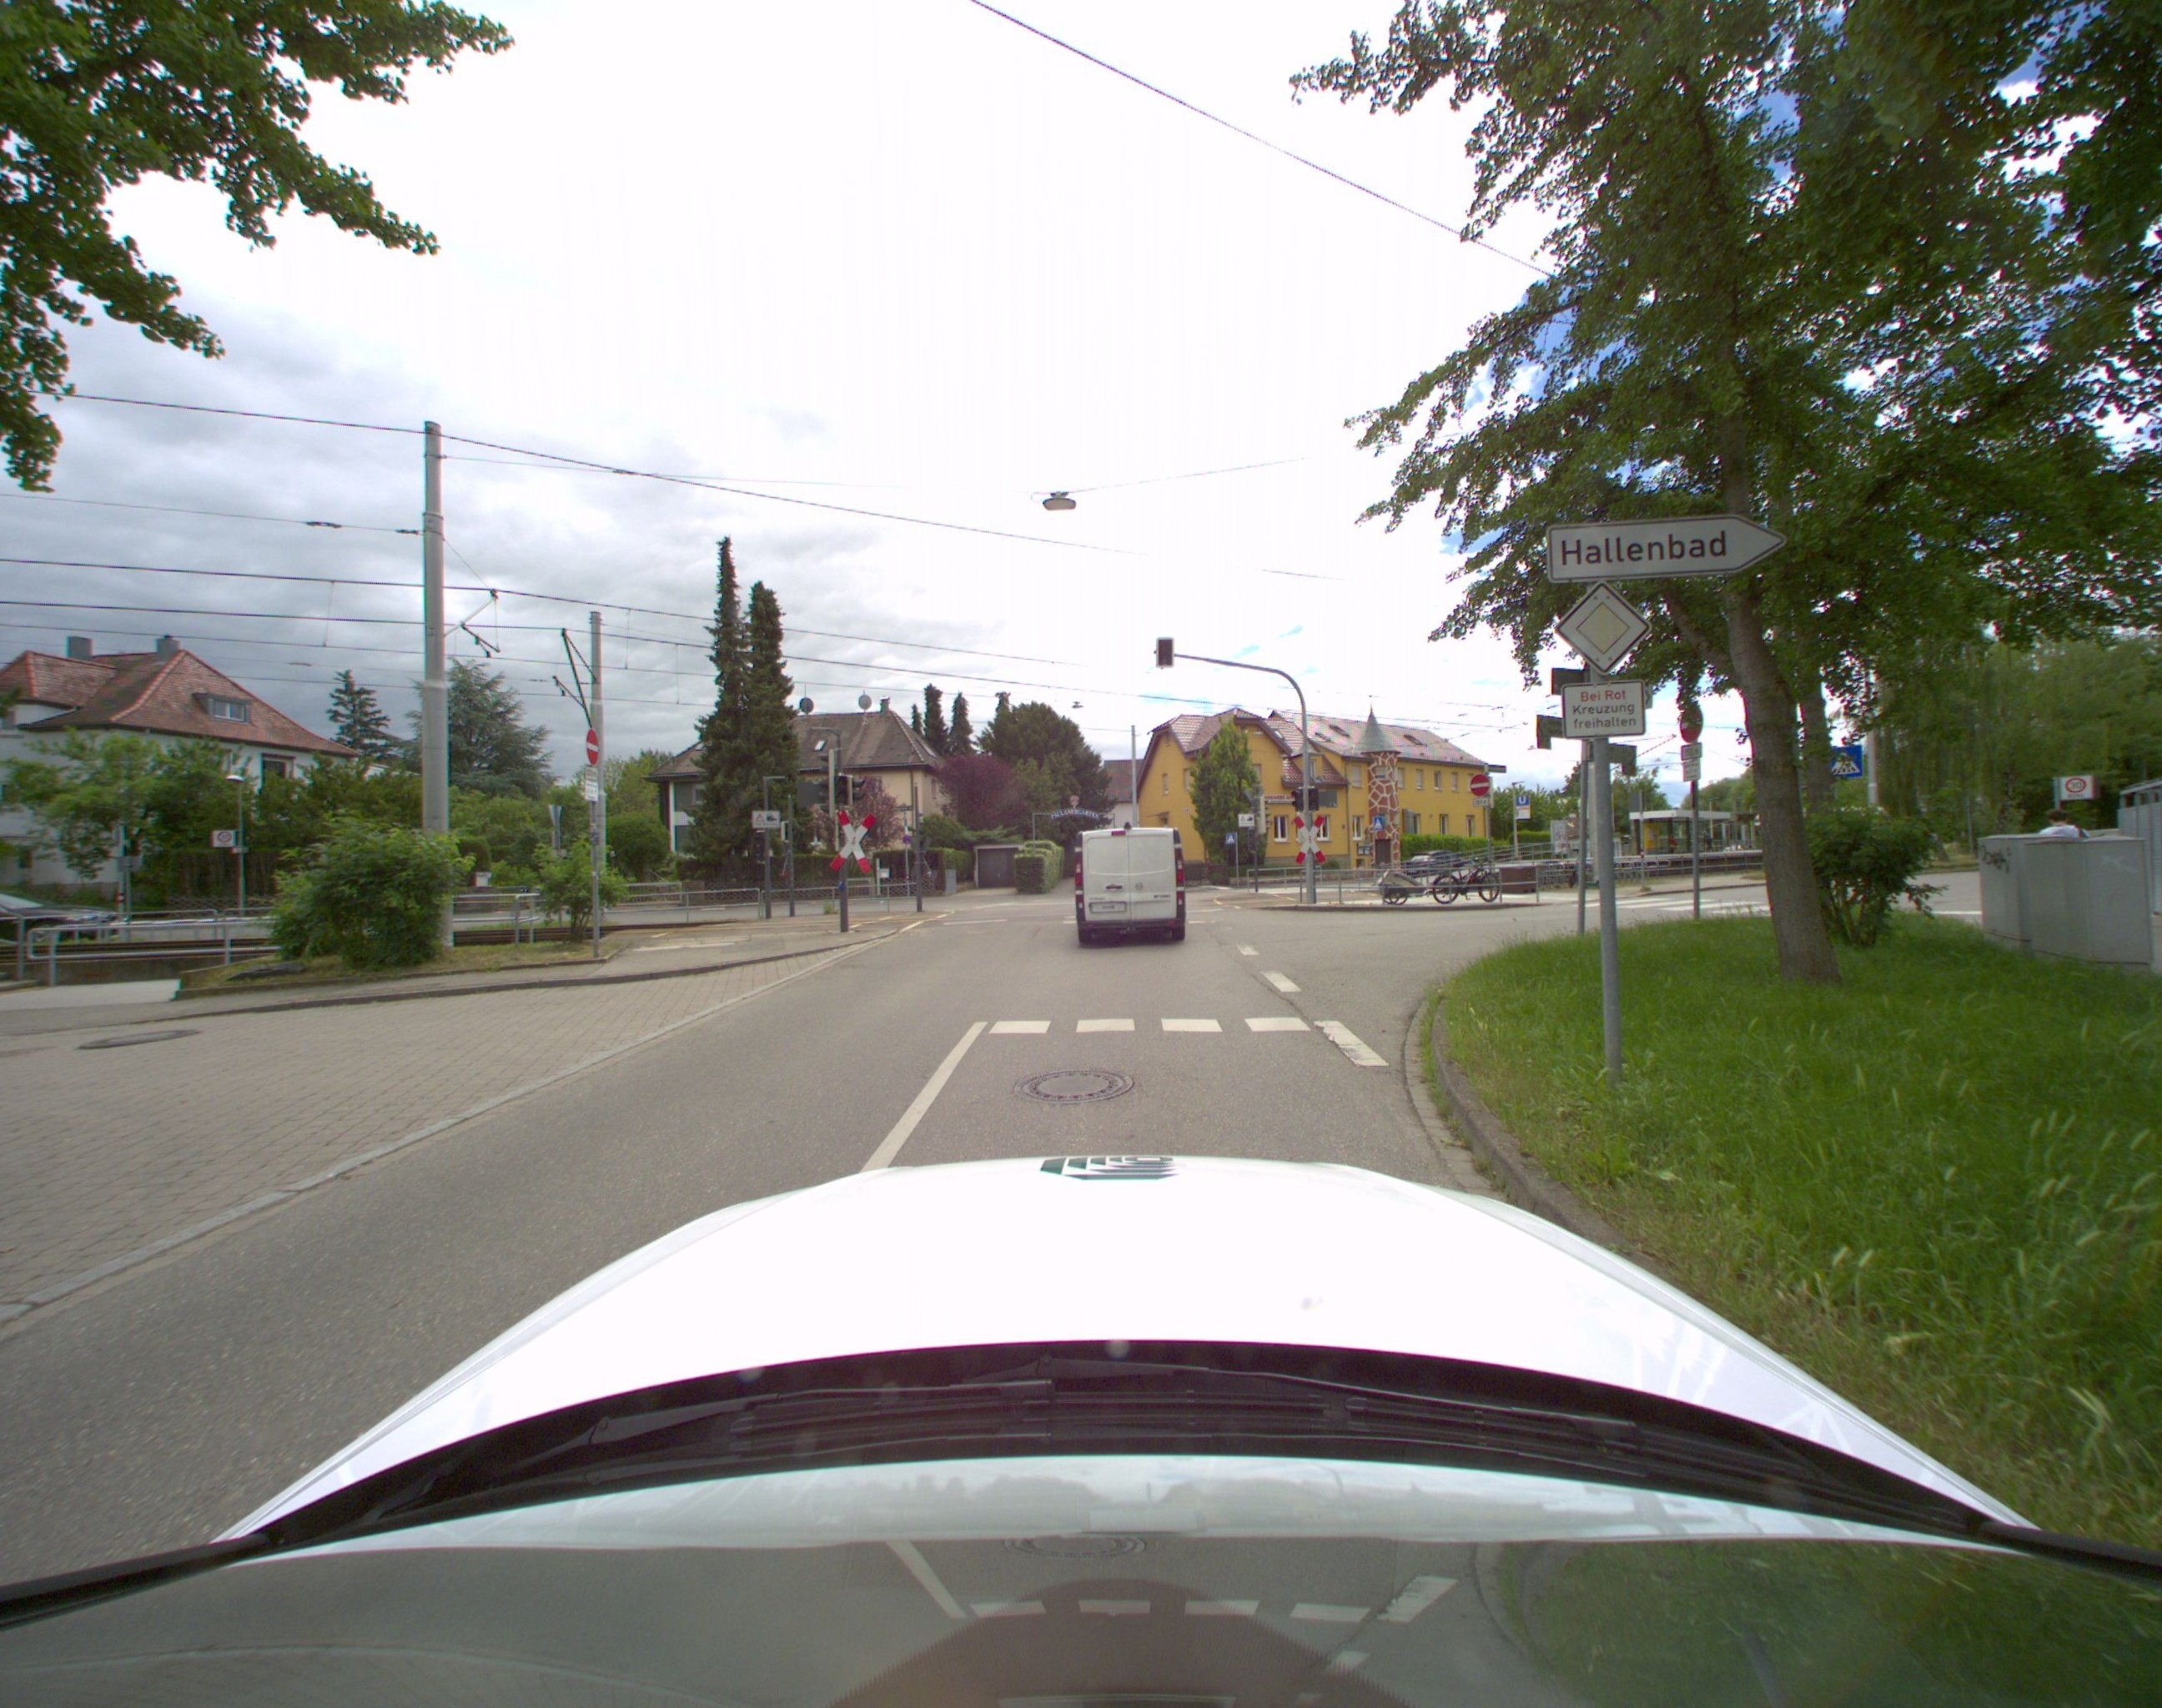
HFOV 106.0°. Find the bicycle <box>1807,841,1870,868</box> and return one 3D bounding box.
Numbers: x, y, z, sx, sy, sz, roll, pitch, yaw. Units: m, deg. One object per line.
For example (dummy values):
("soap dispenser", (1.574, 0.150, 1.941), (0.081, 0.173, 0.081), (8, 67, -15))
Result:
("bicycle", (30.458, 0.026, 32.775), (0.558, 1.042, 1.754), (-1, -1, -28))

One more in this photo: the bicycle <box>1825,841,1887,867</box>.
("bicycle", (31.890, 0.013, 33.528), (0.558, 1.042, 1.754), (-1, -1, -28))

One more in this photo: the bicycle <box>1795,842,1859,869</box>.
("bicycle", (29.673, 0.074, 32.423), (0.558, 1.042, 1.754), (-1, -1, -28))

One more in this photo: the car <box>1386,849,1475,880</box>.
("car", (18.970, 0.528, 44.196), (4.387, 1.564, 2.339), (0, 0, -32))

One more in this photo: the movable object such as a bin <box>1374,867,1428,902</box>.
("movable object such as a bin", (7.930, 0.743, 20.214), (1.088, 0.824, 0.579), (-2, -1, -3))

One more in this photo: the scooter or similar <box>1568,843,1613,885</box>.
("scooter or similar", (16.317, 0.328, 26.096), (0.491, 1.316, 1.041), (-3, -1, -28))

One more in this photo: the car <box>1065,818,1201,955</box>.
("car", (0.820, 0.516, 15.611), (2.110, 2.134, 5.440), (-1, 0, 0))

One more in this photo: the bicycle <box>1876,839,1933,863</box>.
("bicycle", (37.528, -0.148, 37.113), (0.559, 1.042, 1.750), (-1, -1, -38))

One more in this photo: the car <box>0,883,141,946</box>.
("car", (-28.098, 1.601, 21.334), (4.124, 1.501, 1.808), (-1, 0, -24))

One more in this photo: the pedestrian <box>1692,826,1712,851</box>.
("pedestrian", (43.322, -1.092, 56.813), (0.914, 1.671, 0.878), (-1, -1, -38))

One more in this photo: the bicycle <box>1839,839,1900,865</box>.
("bicycle", (33.248, -0.060, 34.353), (0.558, 1.042, 1.754), (-1, -1, -28))

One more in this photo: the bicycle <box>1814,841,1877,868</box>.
("bicycle", (31.083, 0.037, 33.122), (0.558, 1.042, 1.754), (-1, -1, -28))

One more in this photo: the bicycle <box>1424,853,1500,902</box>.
("bicycle", (9.458, 0.581, 20.233), (1.685, 1.155, 0.465), (-2, -1, -7))

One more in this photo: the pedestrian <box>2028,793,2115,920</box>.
("pedestrian", (15.506, 0.037, 12.770), (0.617, 1.914, 0.836), (-3, -1, 38))
